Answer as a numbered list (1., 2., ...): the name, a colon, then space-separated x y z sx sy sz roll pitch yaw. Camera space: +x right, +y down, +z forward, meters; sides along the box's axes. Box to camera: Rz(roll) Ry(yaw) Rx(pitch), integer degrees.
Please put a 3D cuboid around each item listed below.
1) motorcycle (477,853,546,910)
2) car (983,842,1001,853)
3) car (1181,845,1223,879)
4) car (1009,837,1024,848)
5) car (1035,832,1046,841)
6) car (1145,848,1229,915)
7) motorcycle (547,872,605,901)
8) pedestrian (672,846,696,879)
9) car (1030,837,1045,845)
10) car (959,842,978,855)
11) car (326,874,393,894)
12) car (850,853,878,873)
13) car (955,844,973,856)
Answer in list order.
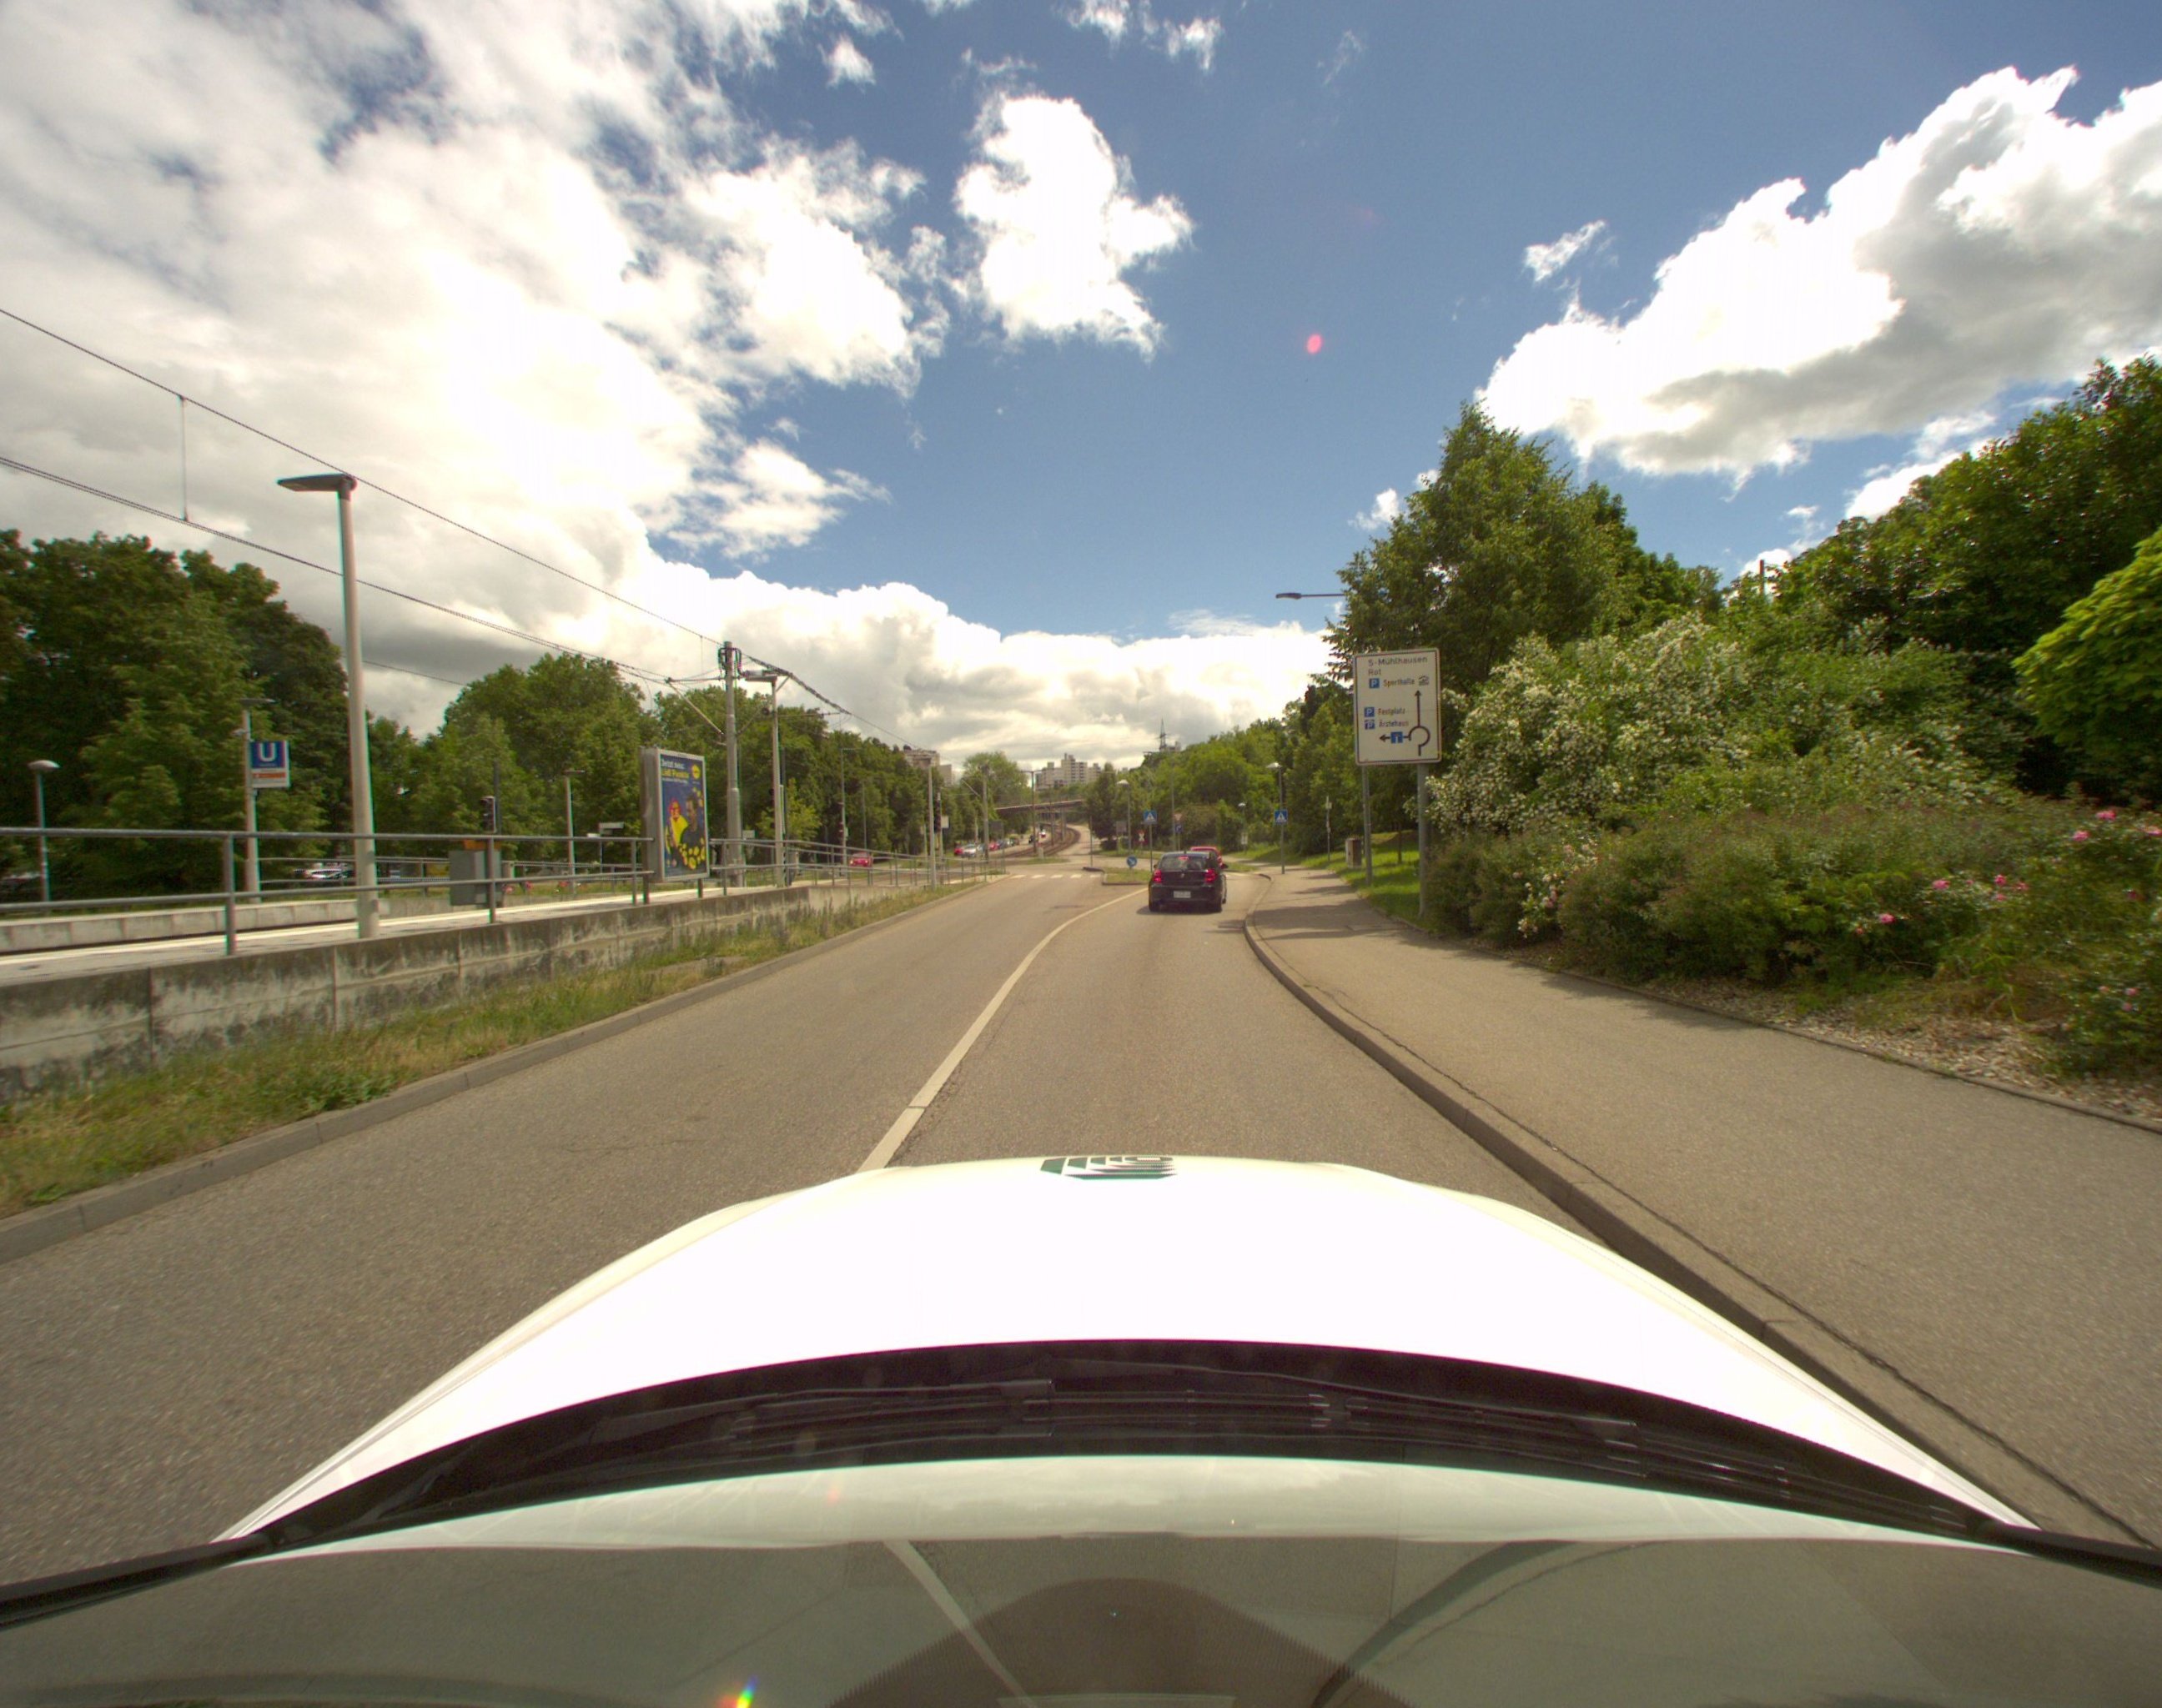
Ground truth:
1. motorcycle: -21.455 1.019 30.726 0.827 2.013 1.991 -2 1 16
2. car: -13.251 -1.000 121.844 1.903 1.561 4.007 -2 1 5
3. car: 5.577 0.327 37.414 1.755 1.432 3.487 -3 0 8
4. car: -11.791 -2.117 148.368 1.983 1.862 4.007 -2 2 6
5. car: -9.618 -4.064 193.412 1.994 2.013 3.986 -2 1 -10
6. car: 2.681 0.626 20.280 1.805 1.421 4.010 -3 0 9
7. motorcycle: -21.059 1.327 34.036 0.725 1.081 2.222 -2 1 10
8. pedestrian: -24.949 0.535 51.141 0.952 2.013 0.826 -1 2 21
9. car: -8.458 -2.509 158.028 1.982 1.597 4.429 -2 1 8
10. car: -13.021 -0.619 94.395 1.872 1.350 3.827 -3 2 -3
11. car: -49.456 2.050 55.866 1.398 1.081 3.125 -1 2 34
12. car: -17.621 0.740 66.303 1.718 1.502 2.960 -2 1 -7
13. car: -14.402 -0.518 100.292 1.522 1.370 3.600 -2 1 3
